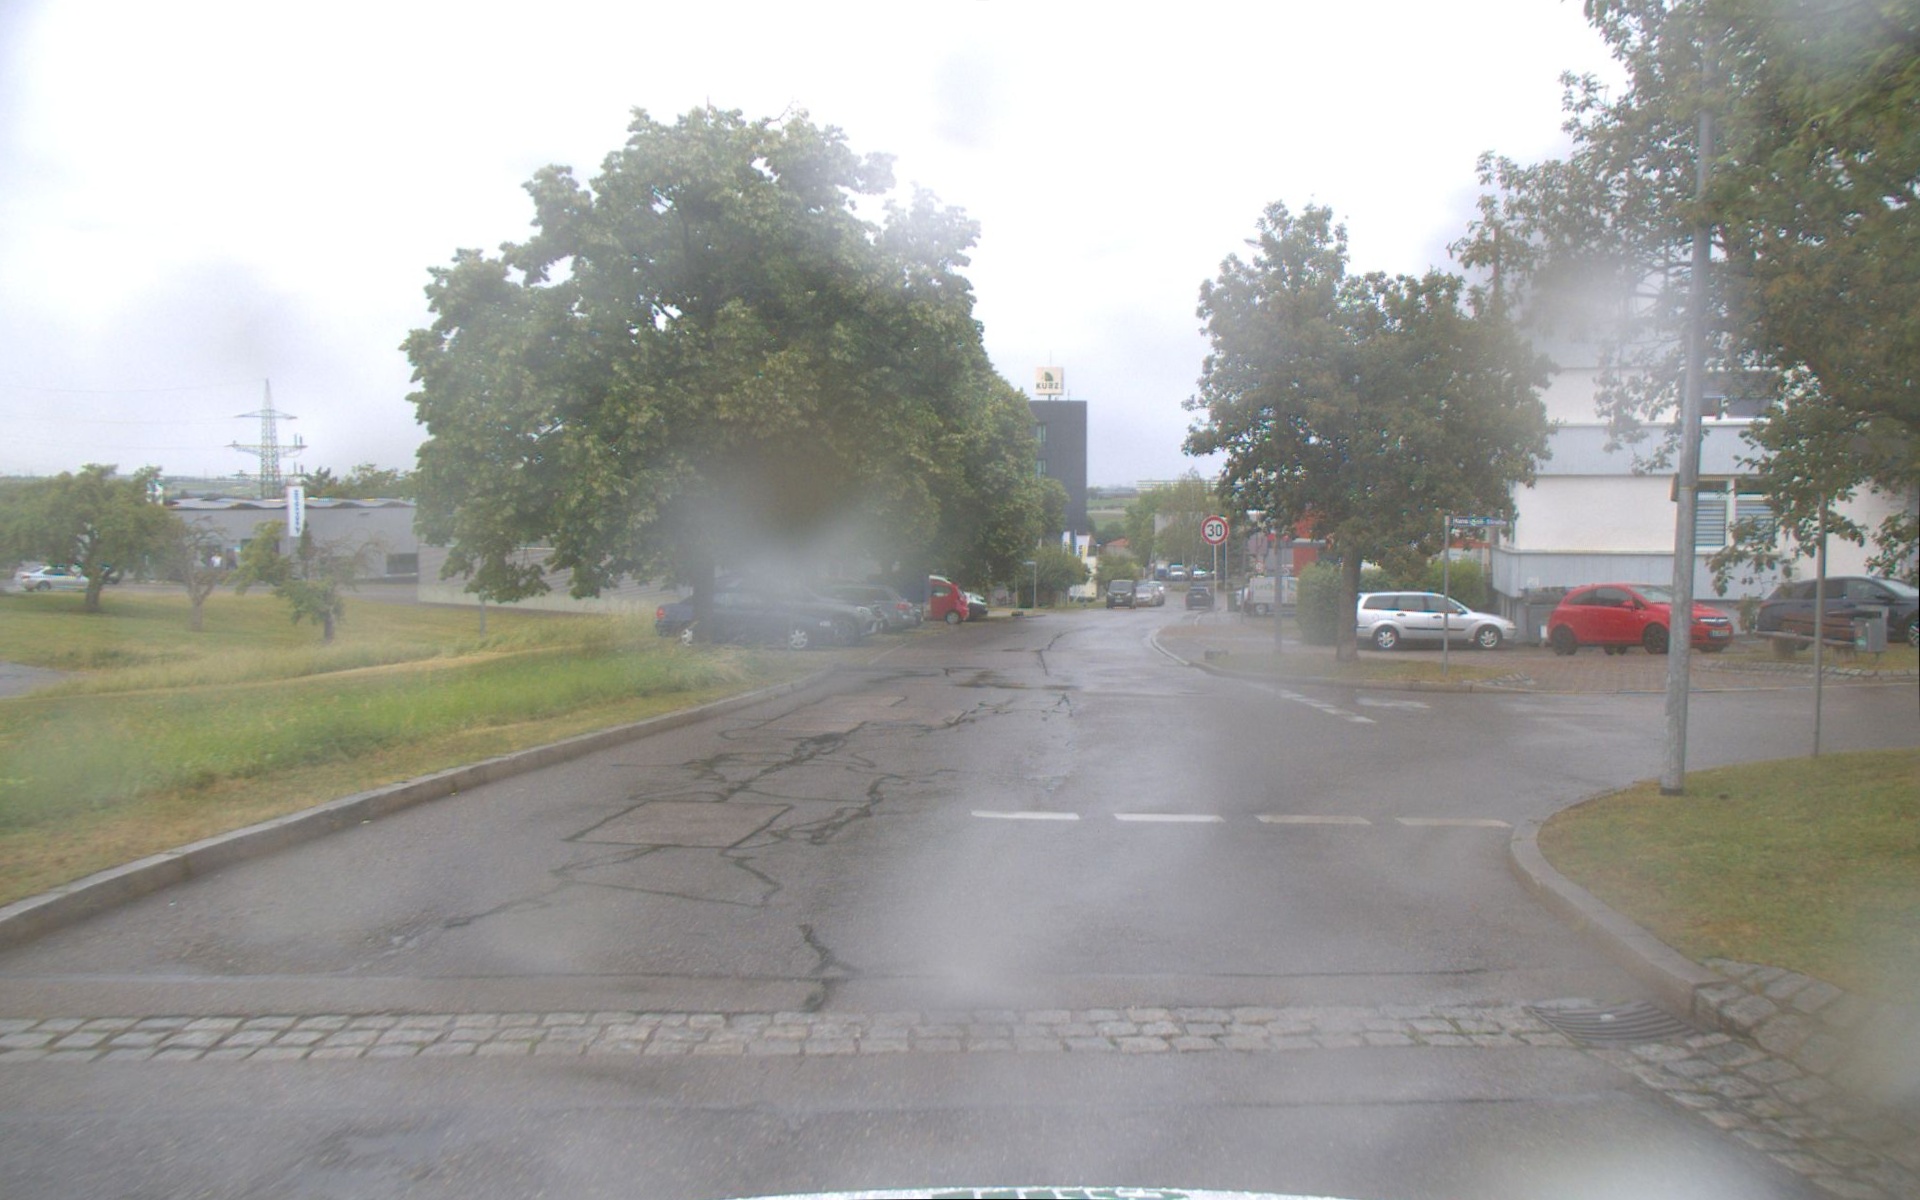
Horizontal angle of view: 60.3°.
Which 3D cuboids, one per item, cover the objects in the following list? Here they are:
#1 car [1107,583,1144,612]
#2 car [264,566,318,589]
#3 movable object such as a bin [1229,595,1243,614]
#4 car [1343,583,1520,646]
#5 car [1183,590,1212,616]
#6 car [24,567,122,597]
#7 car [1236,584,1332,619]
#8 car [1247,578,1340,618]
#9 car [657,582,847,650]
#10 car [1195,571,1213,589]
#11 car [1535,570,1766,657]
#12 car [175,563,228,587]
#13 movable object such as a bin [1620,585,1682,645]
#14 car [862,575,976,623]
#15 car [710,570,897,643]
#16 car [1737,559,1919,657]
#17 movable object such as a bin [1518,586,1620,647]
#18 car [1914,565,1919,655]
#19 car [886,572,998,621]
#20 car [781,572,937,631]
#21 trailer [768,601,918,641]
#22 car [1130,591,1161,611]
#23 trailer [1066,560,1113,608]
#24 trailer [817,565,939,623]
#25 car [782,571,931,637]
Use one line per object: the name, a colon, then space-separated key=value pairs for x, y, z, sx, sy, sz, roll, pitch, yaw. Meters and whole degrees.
car: x=10.832 y=-0.166 z=108.147 sx=1.874 sy=1.863 sz=4.852 roll=1 pitch=0 yaw=12
car: x=-48.667 y=-1.649 z=120.298 sx=3.922 sy=1.646 sz=1.992 roll=1 pitch=1 yaw=37
movable object such as a bin: x=15.876 y=0.271 z=95.094 sx=0.755 sy=1.048 sz=0.809 roll=1 pitch=0 yaw=13
car: x=12.237 y=0.373 z=43.139 sx=4.220 sy=1.612 sz=1.860 roll=0 pitch=0 yaw=8
car: x=16.033 y=0.212 z=111.785 sx=1.914 sy=1.705 sz=4.476 roll=0 pitch=-1 yaw=8
car: x=-52.605 y=-1.079 z=98.147 sx=2.245 sy=1.677 sz=4.603 roll=-2 pitch=0 yaw=36
car: x=15.800 y=0.055 z=80.722 sx=4.498 sy=1.565 sz=2.081 roll=-2 pitch=0 yaw=11
car: x=15.664 y=-0.094 z=77.867 sx=4.248 sy=1.804 sz=2.091 roll=0 pitch=0 yaw=10
car: x=-4.749 y=0.364 z=38.238 sx=4.125 sy=1.456 sz=1.774 roll=1 pitch=0 yaw=1
car: x=34.333 y=-2.765 z=233.163 sx=2.147 sy=2.502 sz=4.001 roll=0 pitch=0 yaw=3
car: x=14.105 y=0.329 z=34.043 sx=1.828 sy=1.612 sz=4.293 roll=0 pitch=-3 yaw=-24
car: x=-52.855 y=-1.745 z=115.228 sx=3.922 sy=1.646 sz=1.804 roll=1 pitch=1 yaw=38
movable object such as a bin: x=17.993 y=0.375 z=43.109 sx=1.277 sy=1.521 sz=1.030 roll=-1 pitch=0 yaw=11
car: x=-1.510 y=-0.029 z=61.951 sx=4.107 sy=1.752 sz=1.756 roll=0 pitch=0 yaw=5
car: x=-3.812 y=0.165 z=40.807 sx=4.275 sy=1.752 sz=2.046 roll=0 pitch=0 yaw=5
car: x=18.037 y=0.166 z=32.529 sx=1.832 sy=1.612 sz=4.785 roll=0 pitch=-5 yaw=-28
movable object such as a bin: x=15.935 y=0.426 z=43.343 sx=2.218 sy=1.530 sz=1.734 roll=-1 pitch=0 yaw=11
car: x=21.429 y=0.159 z=32.419 sx=1.833 sy=1.830 sz=4.414 roll=3 pitch=-4 yaw=-30
car: x=-0.716 y=-0.126 z=66.932 sx=4.208 sy=1.939 sz=1.863 roll=0 pitch=0 yaw=14
car: x=-3.116 y=0.039 z=51.439 sx=4.519 sy=1.617 sz=1.807 roll=2 pitch=0 yaw=9
trailer: x=-3.224 y=0.564 z=46.190 sx=3.857 sy=0.978 sz=2.002 roll=1 pitch=1 yaw=7
car: x=13.773 y=0.071 z=122.505 sx=1.914 sy=1.486 sz=5.252 roll=0 pitch=0 yaw=11
trailer: x=11.829 y=-1.458 z=151.691 sx=1.988 sy=4.276 sz=4.125 roll=0 pitch=0 yaw=-40
trailer: x=-2.915 y=-0.209 z=59.270 sx=4.122 sy=2.019 sz=1.775 roll=0 pitch=0 yaw=9
car: x=-3.023 y=0.109 z=48.862 sx=3.987 sy=1.752 sz=2.027 roll=2 pitch=0 yaw=10
